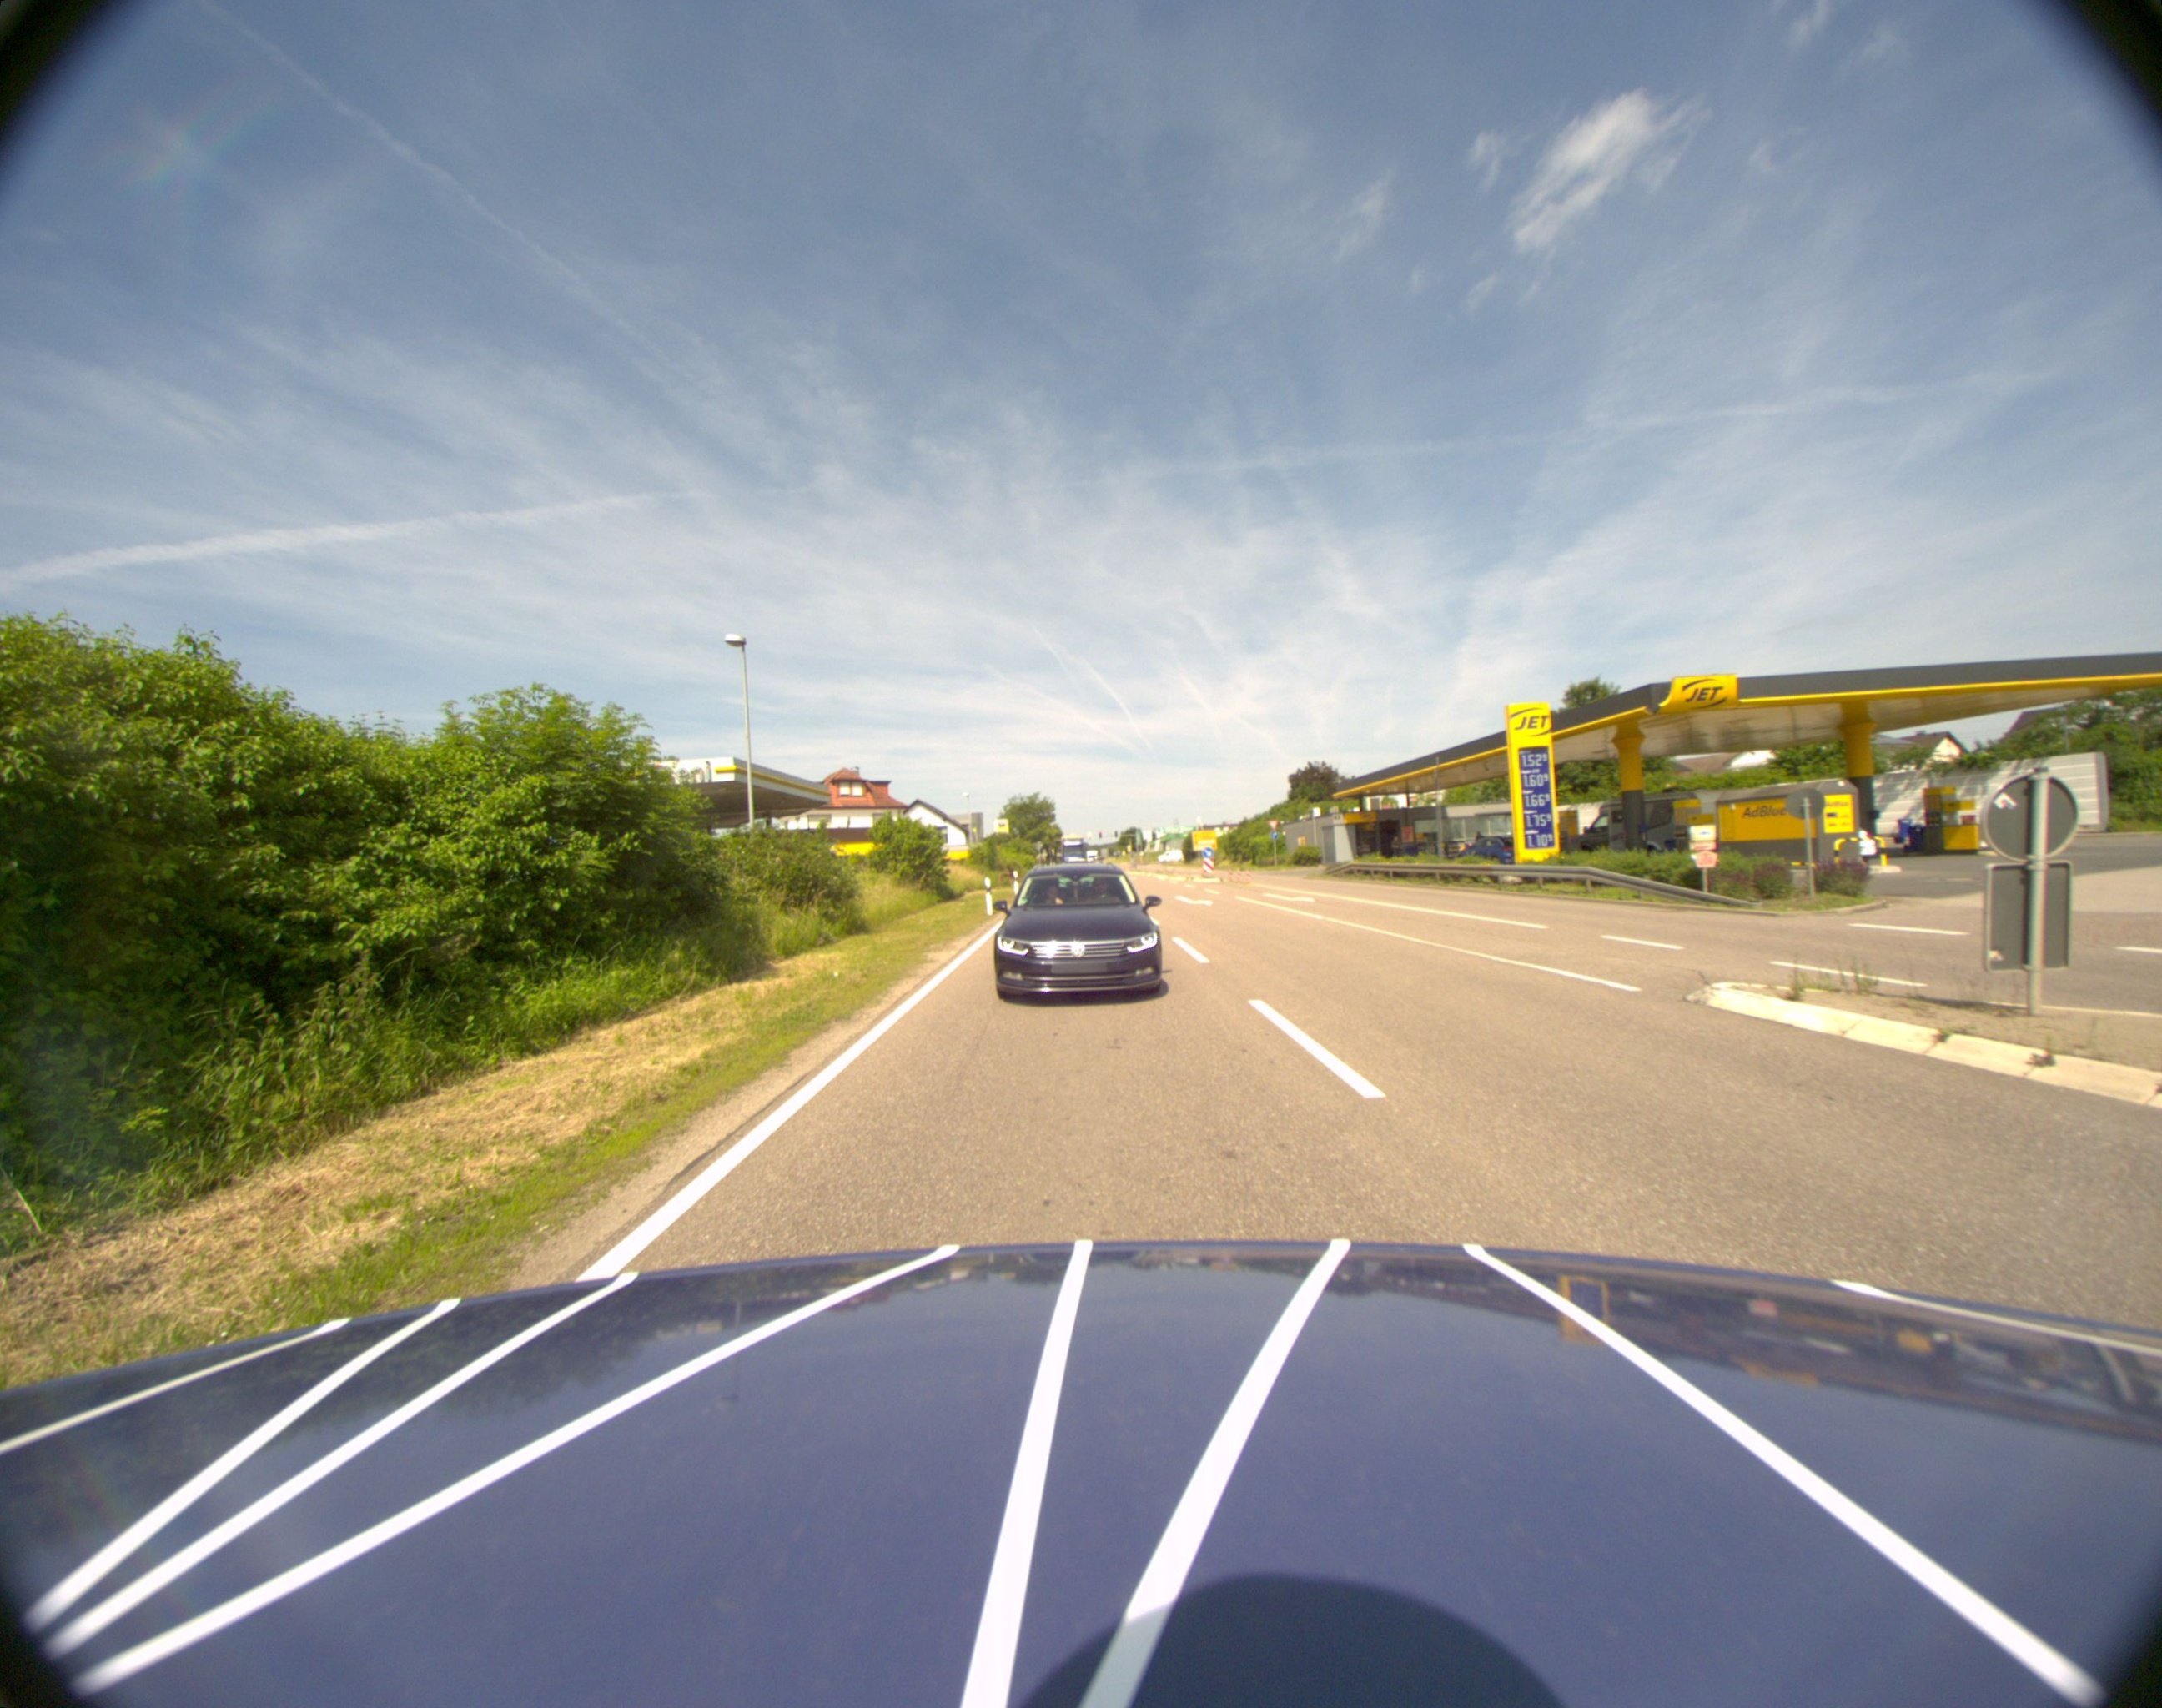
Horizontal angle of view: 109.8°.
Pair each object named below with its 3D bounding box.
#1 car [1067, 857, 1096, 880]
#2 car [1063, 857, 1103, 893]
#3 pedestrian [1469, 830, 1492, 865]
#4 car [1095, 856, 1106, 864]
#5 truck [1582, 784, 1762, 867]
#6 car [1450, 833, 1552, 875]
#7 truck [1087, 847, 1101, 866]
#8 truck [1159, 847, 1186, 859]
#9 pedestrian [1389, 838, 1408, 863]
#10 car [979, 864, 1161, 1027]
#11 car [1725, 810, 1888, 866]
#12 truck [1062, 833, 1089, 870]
[{"bbox_3d":[0.054,0.949,51.789,1.814,1.466,3.974,-2,0,1],"label":"car"},{"bbox_3d":[0.133,0.916,34.037,1.470,1.451,3.798,-2,0,4],"label":"car"},{"bbox_3d":[21.262,-0.352,40.442,0.798,1.827,0.640,-3,0,1],"label":"pedestrian"},{"bbox_3d":[3.142,0.925,123.152,1.786,1.210,4.000,-3,0,2],"label":"car"},{"bbox_3d":[23.509,-1.058,30.700,2.250,2.906,6.282,-2,1,-1],"label":"truck"},{"bbox_3d":[18.672,0.022,34.045,1.999,1.696,4.263,-2,0,-3],"label":"car"},{"bbox_3d":[2.791,0.494,164.218,2.855,3.999,12.916,-2,0,0],"label":"truck"},{"bbox_3d":[17.513,-0.215,145.860,4.771,1.997,2.000,-3,0,-1],"label":"truck"},{"bbox_3d":[18.843,-0.206,45.098,0.914,1.419,0.494,-2,1,13],"label":"pedestrian"},{"bbox_3d":[-0.089,0.941,10.013,1.756,1.493,4.925,-2,0,0],"label":"car"},{"bbox_3d":[23.944,-0.473,25.309,1.736,1.717,4.001,-1,0,3],"label":"car"},{"bbox_3d":[-0.539,-0.326,91.263,2.855,3.999,12.916,-2,0,0],"label":"truck"}]
